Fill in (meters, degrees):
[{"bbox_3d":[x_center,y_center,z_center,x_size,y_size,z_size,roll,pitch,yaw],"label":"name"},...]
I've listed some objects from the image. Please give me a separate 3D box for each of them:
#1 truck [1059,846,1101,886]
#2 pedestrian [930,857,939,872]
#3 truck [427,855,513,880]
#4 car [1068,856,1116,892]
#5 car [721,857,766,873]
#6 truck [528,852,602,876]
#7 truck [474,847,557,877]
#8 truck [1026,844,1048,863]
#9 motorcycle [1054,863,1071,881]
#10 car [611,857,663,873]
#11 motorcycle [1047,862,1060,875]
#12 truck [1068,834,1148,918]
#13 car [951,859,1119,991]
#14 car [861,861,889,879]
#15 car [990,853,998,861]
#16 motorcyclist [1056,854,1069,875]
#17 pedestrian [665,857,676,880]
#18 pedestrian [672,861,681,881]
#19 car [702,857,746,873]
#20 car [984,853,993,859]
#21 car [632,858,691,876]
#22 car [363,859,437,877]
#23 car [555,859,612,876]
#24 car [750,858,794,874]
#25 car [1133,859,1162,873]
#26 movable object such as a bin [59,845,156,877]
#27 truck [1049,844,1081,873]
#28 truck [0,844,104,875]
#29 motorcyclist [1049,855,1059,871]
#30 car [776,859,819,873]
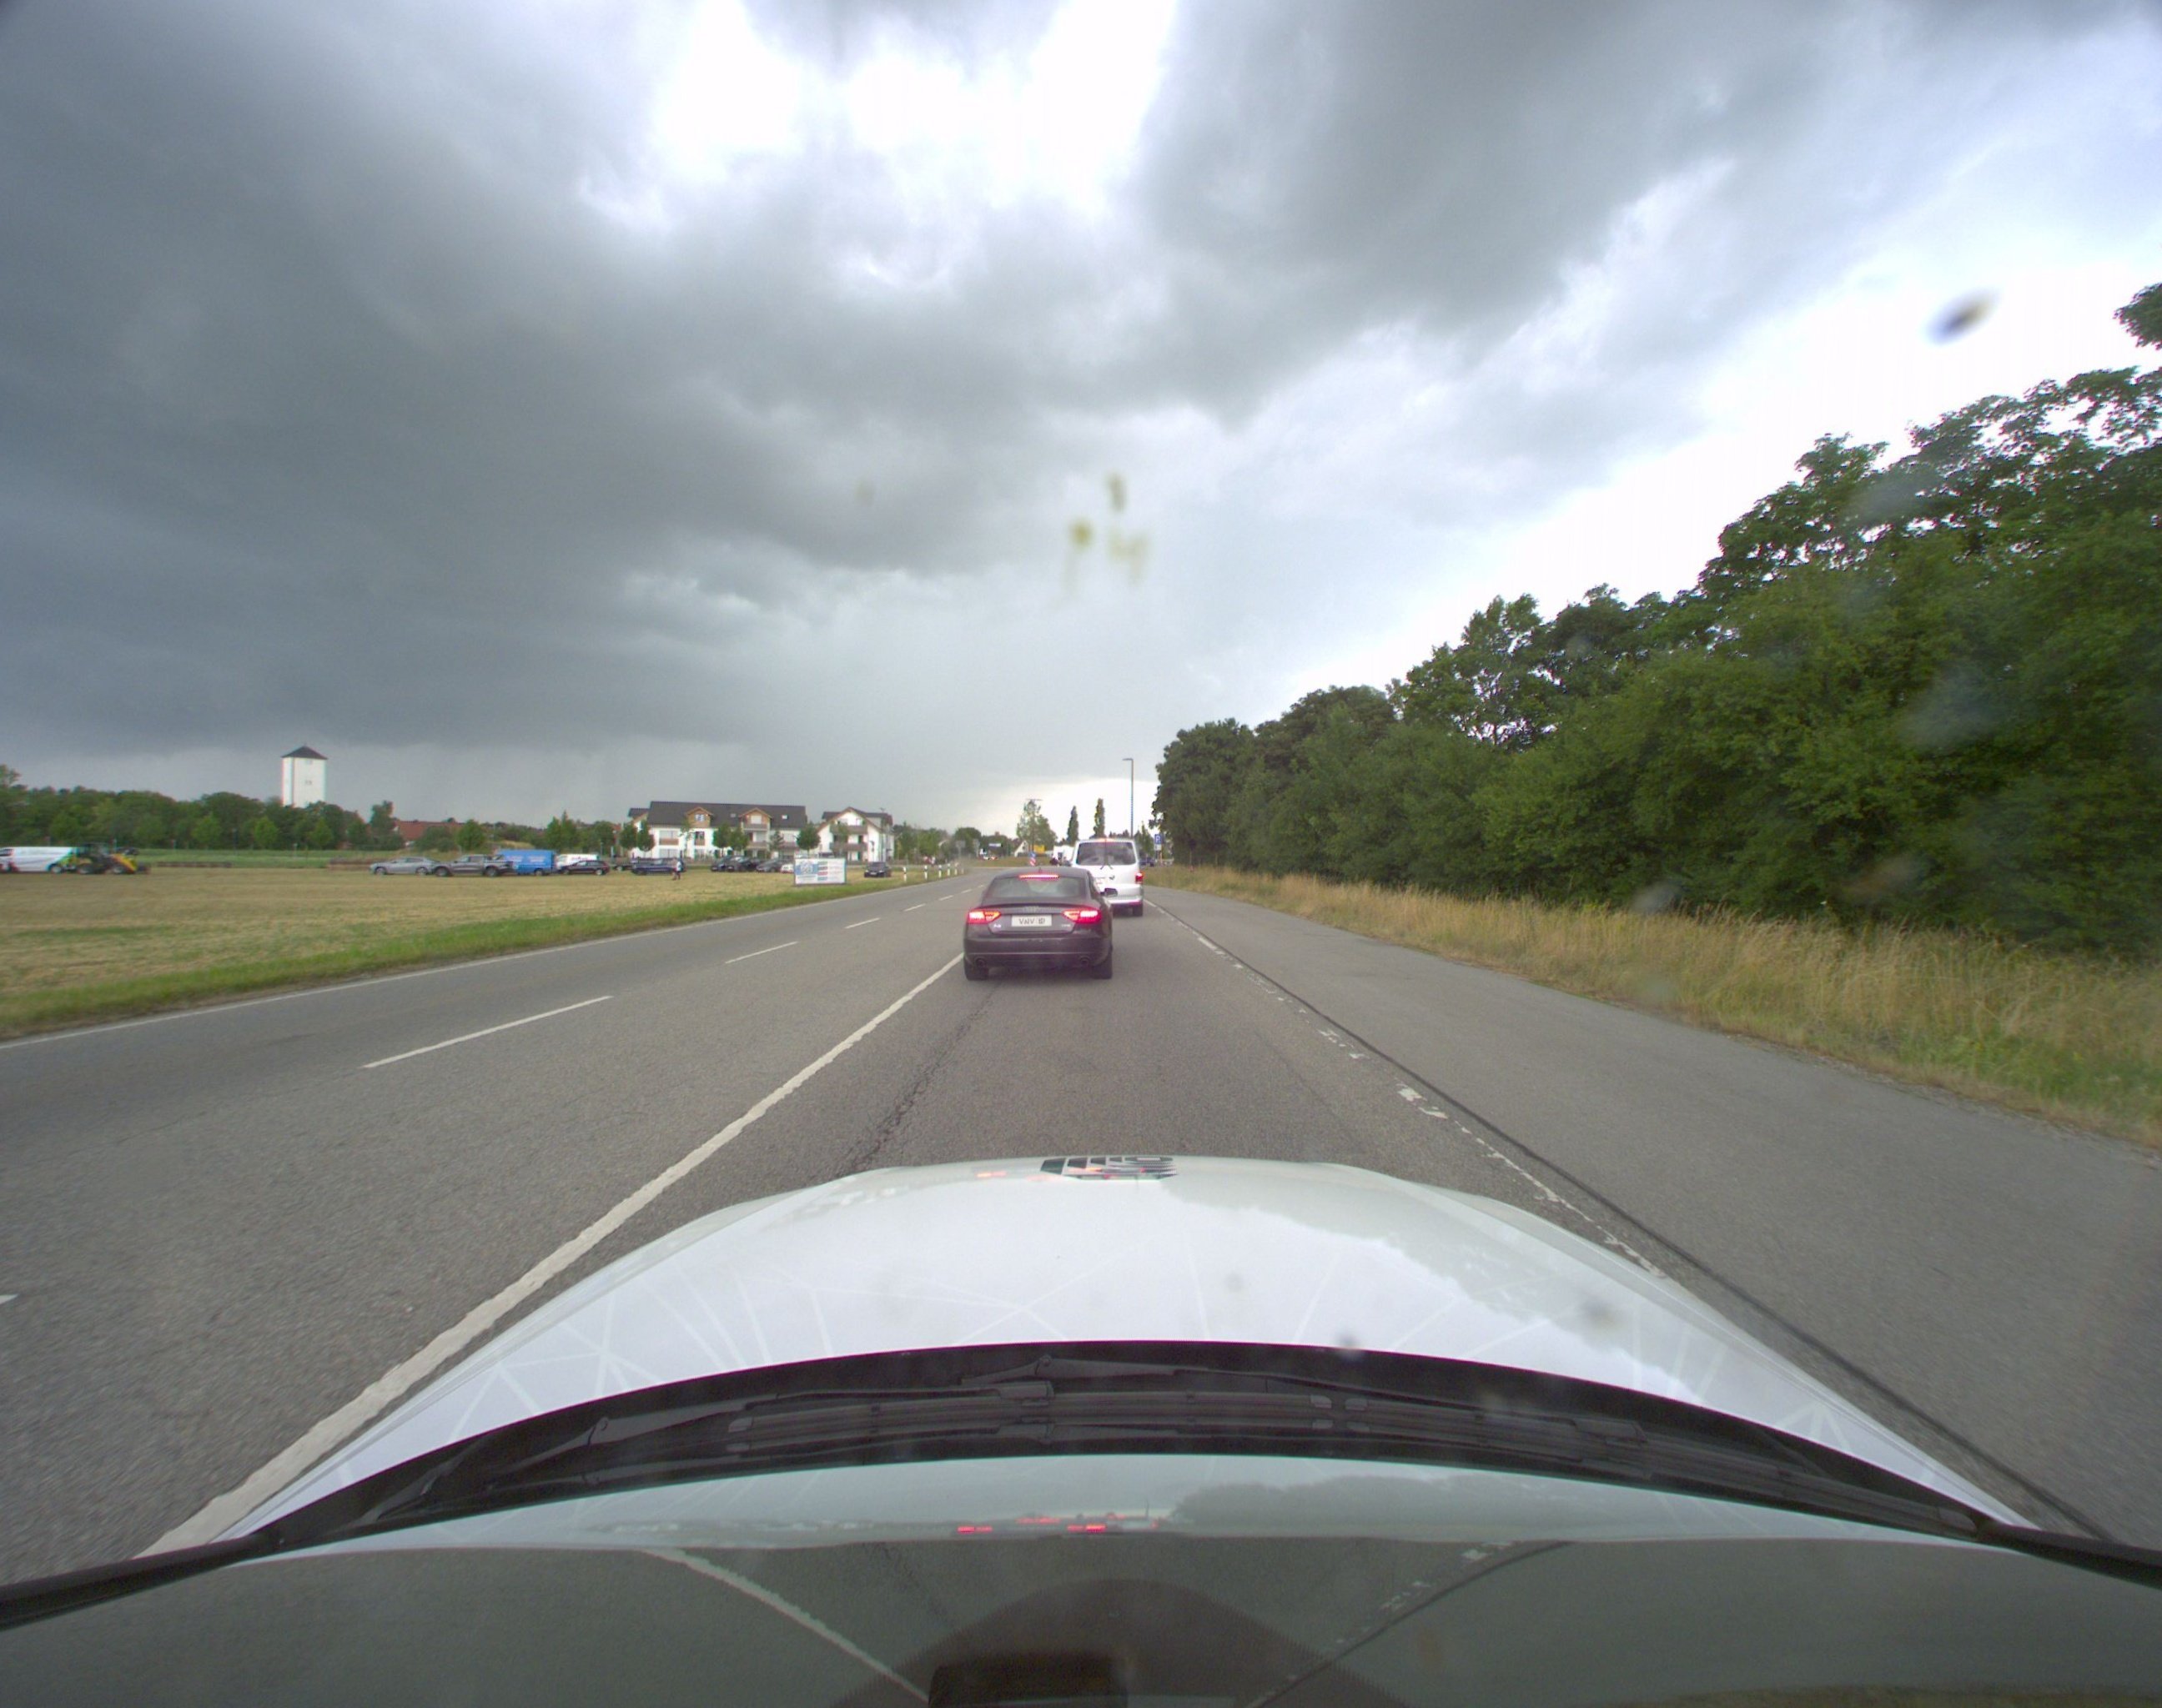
[{"bbox_3d":[0.017,0.626,44.358,2.186,2.014,5.086,0,0,1],"label":"truck"},{"bbox_3d":[-15.766,1.137,87.811,0.694,1.586,0.662,0,-1,38],"label":"pedestrian"},{"bbox_3d":[-49.493,1.067,66.152,5.253,1.921,2.094,0,-1,-26],"label":"truck"},{"bbox_3d":[0.476,0.819,35.284,1.987,1.485,4.000,0,0,0],"label":"car"},{"bbox_3d":[-35.133,1.153,84.937,1.977,1.629,4.232,0,0,19],"label":"car"},{"bbox_3d":[-49.201,0.925,77.835,5.587,2.196,2.588,0,-1,-22],"label":"truck"},{"bbox_3d":[-48.693,0.686,70.271,5.469,2.446,2.376,0,-1,-22],"label":"truck"},{"bbox_3d":[-8.534,-0.141,157.081,3.573,3.578,9.932,1,0,-7],"label":"truck"},{"bbox_3d":[-1.204,1.185,53.934,0.916,1.094,2.191,0,0,4],"label":"motorcycle"},{"bbox_3d":[-48.328,1.189,88.754,4.640,1.697,1.987,0,-1,-20],"label":"car"},{"bbox_3d":[-2.283,1.216,67.419,0.941,1.019,2.284,0,0,1],"label":"motorcycle"},{"bbox_3d":[0.704,0.537,21.763,1.897,1.998,4.629,0,0,1],"label":"truck"},{"bbox_3d":[-0.455,0.810,11.203,1.868,1.454,4.178,0,0,2],"label":"car"},{"bbox_3d":[-17.952,1.349,71.061,1.993,1.442,3.987,0,0,-10],"label":"car"},{"bbox_3d":[-21.992,0.719,205.174,1.991,2.014,3.991,1,0,-6],"label":"car"},{"bbox_3d":[-1.217,0.671,53.842,0.769,1.383,0.821,0,-1,3],"label":"motorcyclist"},{"bbox_3d":[-32.568,1.146,64.636,0.548,1.786,0.675,0,-1,-11],"label":"pedestrian"},{"bbox_3d":[-32.603,1.362,65.612,0.591,1.555,0.622,0,-1,-18],"label":"pedestrian"},{"bbox_3d":[-38.205,1.136,87.199,1.977,1.629,4.232,0,0,19],"label":"car"},{"bbox_3d":[-24.375,0.563,214.429,1.989,1.642,3.995,1,0,-3],"label":"car"},{"bbox_3d":[-39.780,1.230,77.296,4.730,1.697,1.987,0,0,-20],"label":"car"},{"bbox_3d":[-56.329,1.158,67.422,4.316,1.461,1.876,0,0,-26],"label":"car"},{"bbox_3d":[-45.747,1.257,74.969,4.168,1.519,1.987,0,0,-20],"label":"car"},{"bbox_3d":[-31.991,1.232,84.456,1.977,1.536,4.232,0,0,19],"label":"car"},{"bbox_3d":[9.957,1.745,121.799,3.953,2.014,2.010,1,-1,21],"label":"car"},{"bbox_3d":[-69.760,0.498,58.420,4.006,2.243,1.869,0,-1,-27],"label":"movable object such as a bin"},{"bbox_3d":[-1.613,0.446,78.774,2.623,2.737,5.855,1,0,-6],"label":"truck"},{"bbox_3d":[-76.292,0.376,59.234,6.076,2.217,2.697,0,-1,-27],"label":"truck"},{"bbox_3d":[-2.257,0.750,67.525,0.783,1.356,0.854,0,0,1],"label":"motorcyclist"},{"bbox_3d":[-29.244,1.211,84.021,1.977,1.446,4.232,0,0,19],"label":"car"}]
